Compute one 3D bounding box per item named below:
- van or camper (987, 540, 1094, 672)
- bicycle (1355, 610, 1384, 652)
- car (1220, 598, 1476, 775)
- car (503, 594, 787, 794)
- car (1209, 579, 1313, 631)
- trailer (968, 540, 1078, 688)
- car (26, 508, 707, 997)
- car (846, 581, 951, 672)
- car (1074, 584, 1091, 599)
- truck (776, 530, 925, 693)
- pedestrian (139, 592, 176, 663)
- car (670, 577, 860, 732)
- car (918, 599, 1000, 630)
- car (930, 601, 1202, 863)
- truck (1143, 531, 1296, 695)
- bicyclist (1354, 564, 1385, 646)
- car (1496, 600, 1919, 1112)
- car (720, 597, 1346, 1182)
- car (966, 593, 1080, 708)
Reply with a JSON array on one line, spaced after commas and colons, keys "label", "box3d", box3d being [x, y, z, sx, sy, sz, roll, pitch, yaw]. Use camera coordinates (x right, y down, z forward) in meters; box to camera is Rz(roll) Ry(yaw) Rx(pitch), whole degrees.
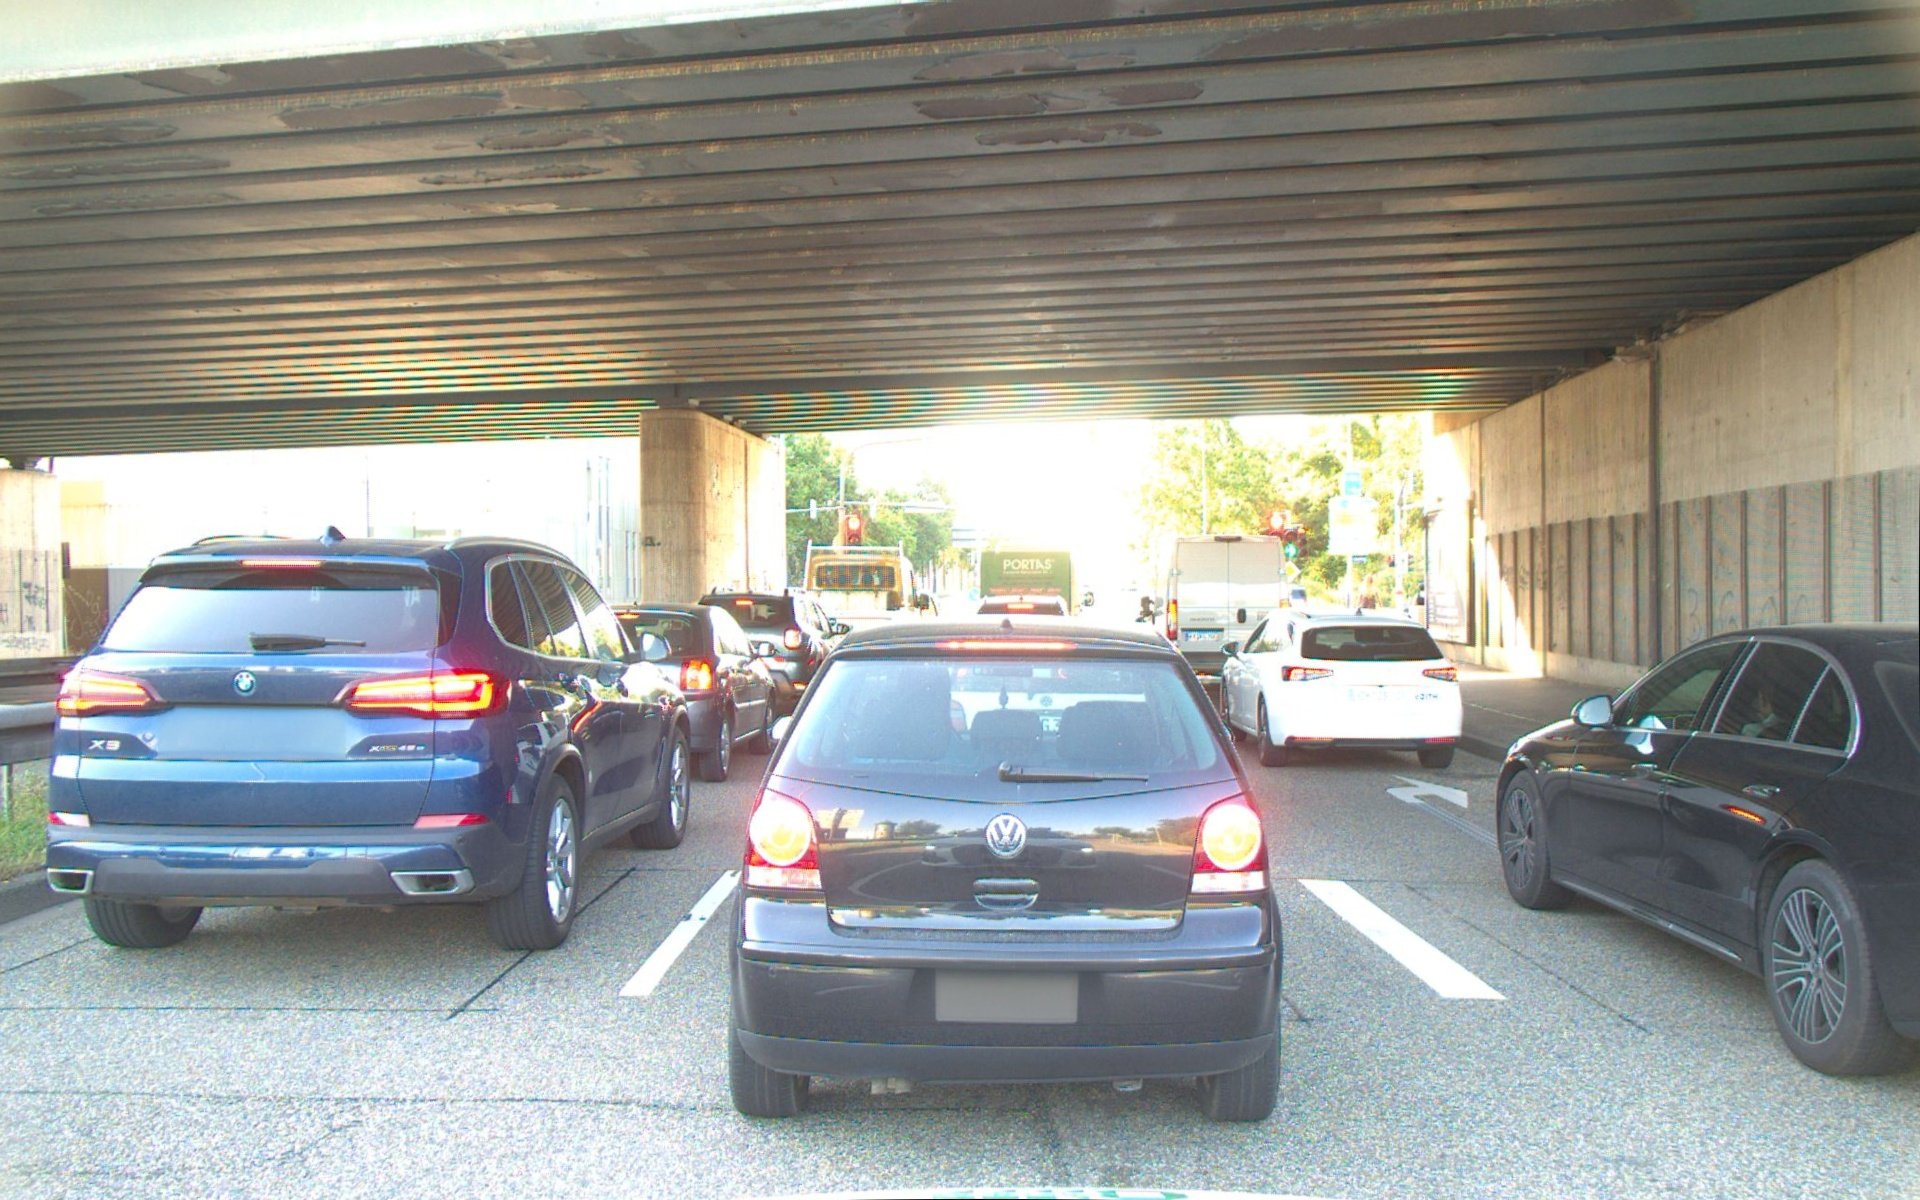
[{"label": "van or camper", "box3d": [1.841, 0.160, 35.938, 1.951, 2.616, 5.921, 0, -1, 6]}, {"label": "bicycle", "box3d": [9.800, 0.738, 39.620, 0.566, 0.980, 2.888, -1, -1, 12]}, {"label": "car", "box3d": [3.725, 0.793, 16.513, 1.735, 1.521, 3.832, -2, -1, 2]}, {"label": "car", "box3d": [-2.669, 0.763, 14.839, 1.804, 1.465, 3.674, -3, -1, -1]}, {"label": "car", "box3d": [11.374, 0.185, 62.697, 3.714, 1.713, 1.666, -4, -1, 8]}, {"label": "trailer", "box3d": [1.219, 0.278, 30.471, 1.825, 2.508, 3.833, -2, -1, 4]}, {"label": "car", "box3d": [-2.518, 0.591, 8.292, 1.792, 1.769, 4.461, -1, -1, 0]}, {"label": "car", "box3d": [-1.335, 0.603, 37.486, 1.951, 1.934, 4.002, 0, -1, 4]}, {"label": "car", "box3d": [11.757, -0.826, 159.171, 1.312, 1.304, 2.892, -3, -1, -2]}, {"label": "truck", "box3d": [-1.827, 0.226, 29.369, 1.985, 2.601, 5.539, 0, -1, 3]}, {"label": "pedestrian", "box3d": [-22.251, 0.756, 45.873, 0.679, 1.937, 0.665, 0, -1, 4]}, {"label": "car", "box3d": [-2.467, 0.679, 21.913, 1.803, 1.749, 4.001, -3, -1, 2]}, {"label": "car", "box3d": [-0.032, 0.540, 59.847, 2.774, 1.100, 1.214, 0, -1, -13]}, {"label": "car", "box3d": [0.648, 0.755, 11.194, 1.515, 1.448, 3.418, 2, 0, 1]}, {"label": "truck", "box3d": [4.382, 0.235, 28.580, 2.067, 2.564, 4.402, -2, -1, 3]}, {"label": "bicyclist", "box3d": [9.803, 0.131, 39.605, 0.667, 1.940, 0.834, 0, -1, 12]}, {"label": "car", "box3d": [3.719, 0.772, 6.536, 1.705, 1.480, 4.606, 0, 1, 0]}, {"label": "car", "box3d": [0.136, 0.750, 6.016, 1.550, 1.433, 3.830, 0, -1, -2]}, {"label": "car", "box3d": [0.936, 0.721, 24.328, 1.549, 1.559, 3.833, 0, -1, 2]}]
